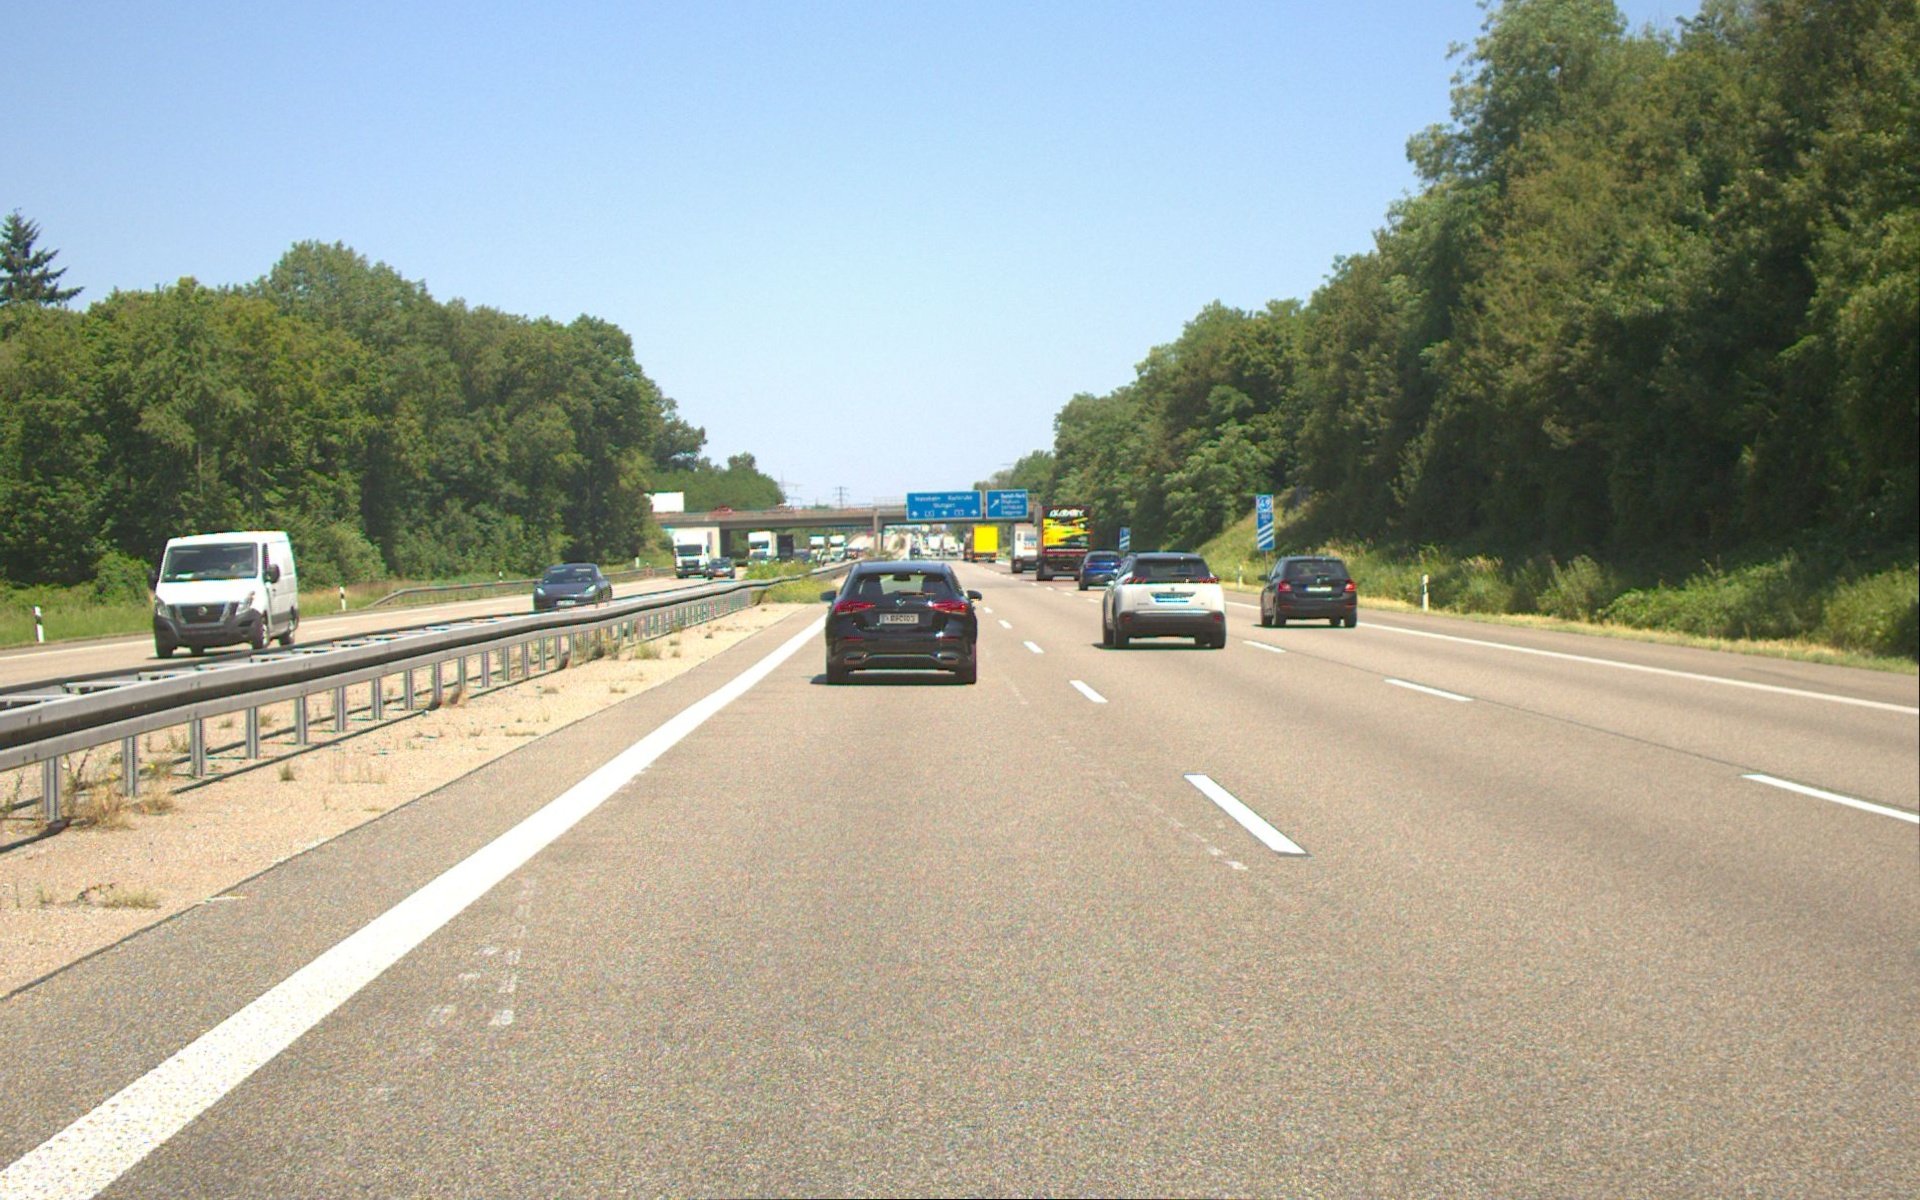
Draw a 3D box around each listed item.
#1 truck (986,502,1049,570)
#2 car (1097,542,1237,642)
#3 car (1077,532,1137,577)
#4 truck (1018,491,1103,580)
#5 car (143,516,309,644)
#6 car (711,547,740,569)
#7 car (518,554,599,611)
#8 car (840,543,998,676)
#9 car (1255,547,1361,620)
[{"bbox_3d":[3.959,-4.437,241.567,3.647,4.574,17.249,0,1,-2],"label":"truck"},{"bbox_3d":[3.308,-0.163,55.665,1.899,1.527,4.242,0,1,-2],"label":"car"},{"bbox_3d":[5.902,-1.838,138.396,2.076,1.745,4.242,-2,1,-2],"label":"car"},{"bbox_3d":[5.307,-3.463,185.386,3.647,4.574,15.768,0,1,-2],"label":"truck"},{"bbox_3d":[-13.848,-0.414,65.183,2.087,2.280,5.277,-2,1,-2],"label":"car"},{"bbox_3d":[-16.493,-2.947,241.938,1.799,1.527,4.679,0,1,-2],"label":"car"},{"bbox_3d":[-11.083,-0.505,95.171,1.805,1.475,4.568,-1,1,-2],"label":"car"},{"bbox_3d":[-0.527,0.072,41.322,1.799,1.496,4.242,0,1,-2],"label":"car"},{"bbox_3d":[7.137,-0.362,70.812,1.789,1.456,3.949,0,1,0],"label":"car"}]
